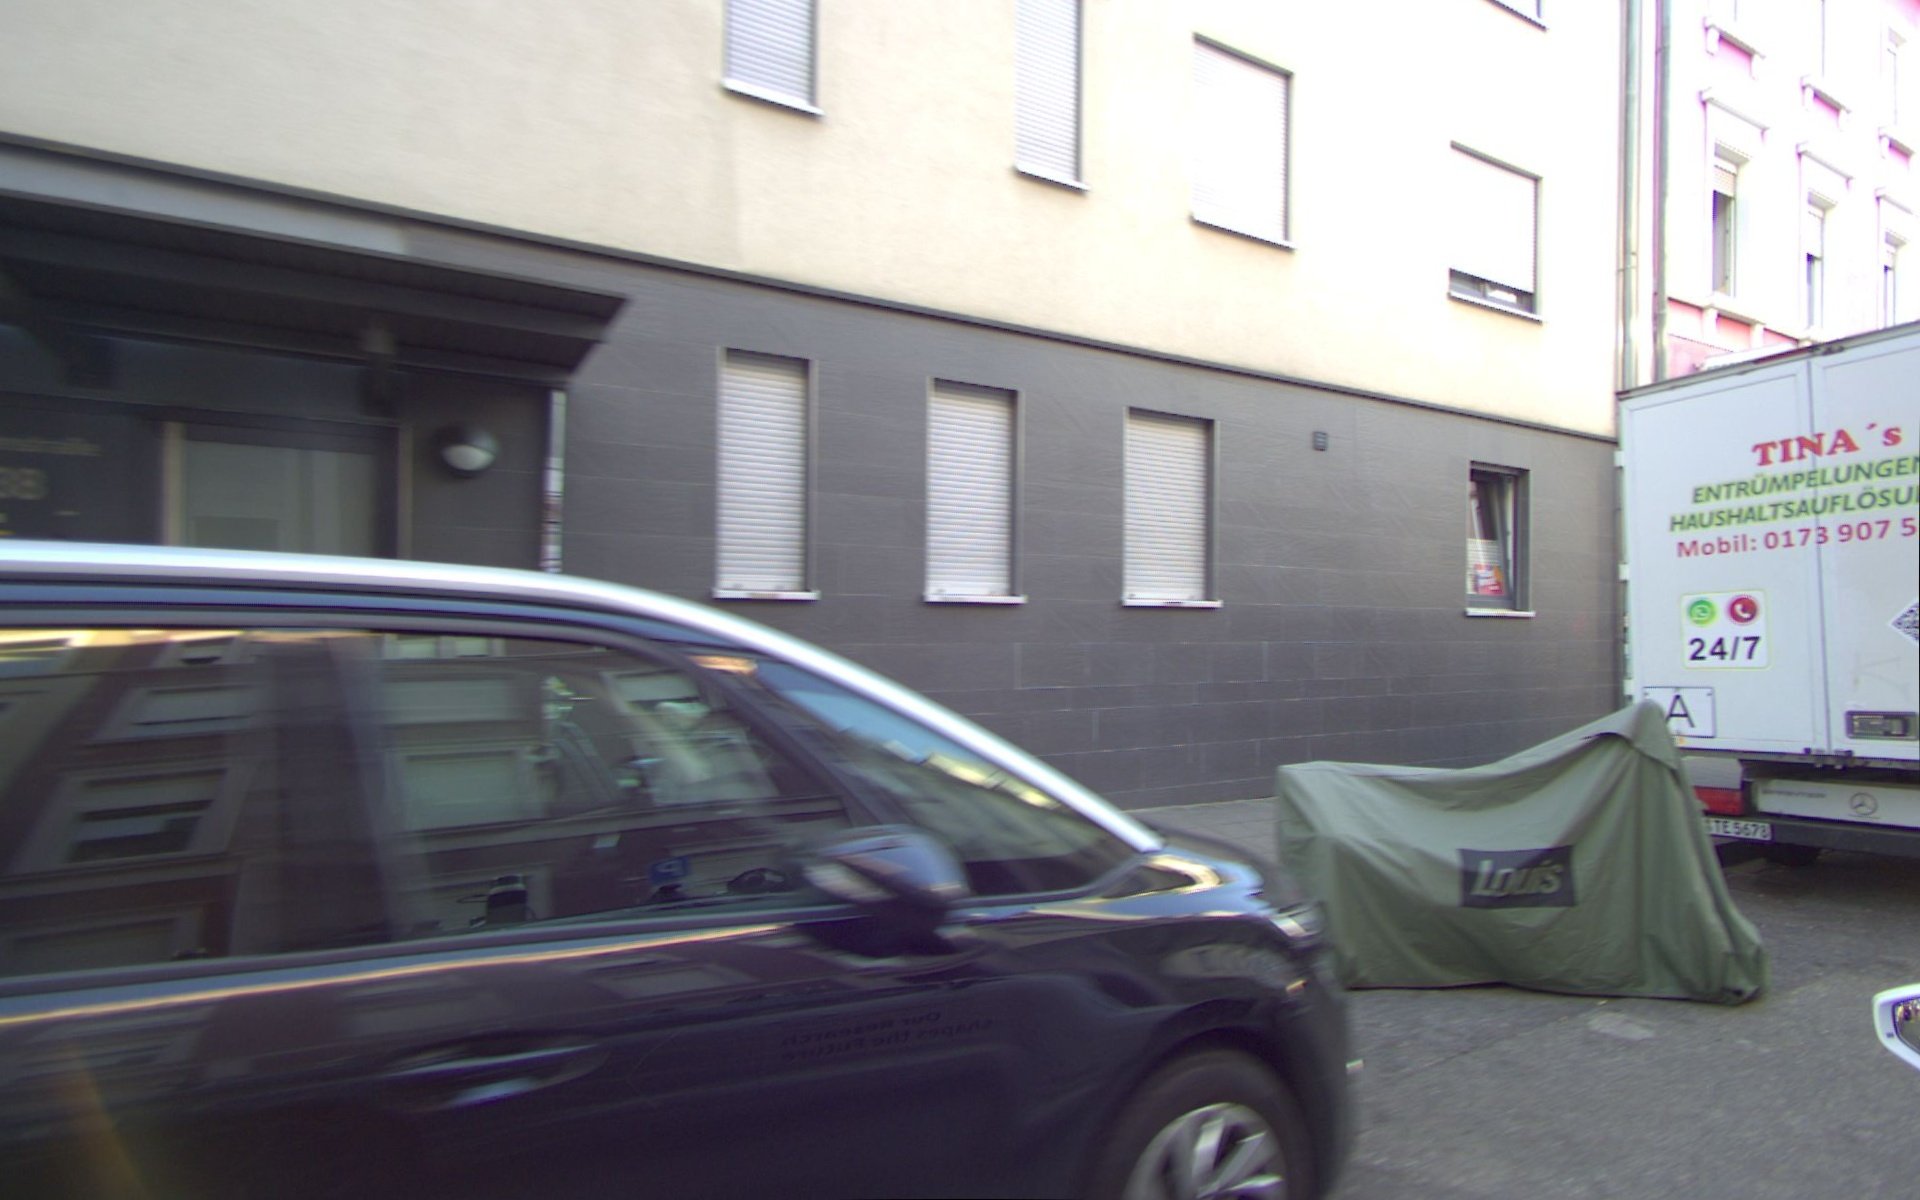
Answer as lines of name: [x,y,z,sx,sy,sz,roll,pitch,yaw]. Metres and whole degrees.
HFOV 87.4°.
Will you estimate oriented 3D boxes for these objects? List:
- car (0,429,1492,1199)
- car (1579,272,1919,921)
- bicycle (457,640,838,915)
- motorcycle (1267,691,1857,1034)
car: [-0.963,0.699,2.097,4.196,1.672,1.709,0,-3,-31]
car: [7.747,0.088,7.376,7.069,3.334,2.333,2,-3,-30]
bicycle: [-1.516,0.797,5.011,1.752,1.180,0.488,1,-3,-30]
motorcycle: [2.485,1.056,4.452,2.064,1.269,0.793,-1,-2,12]
